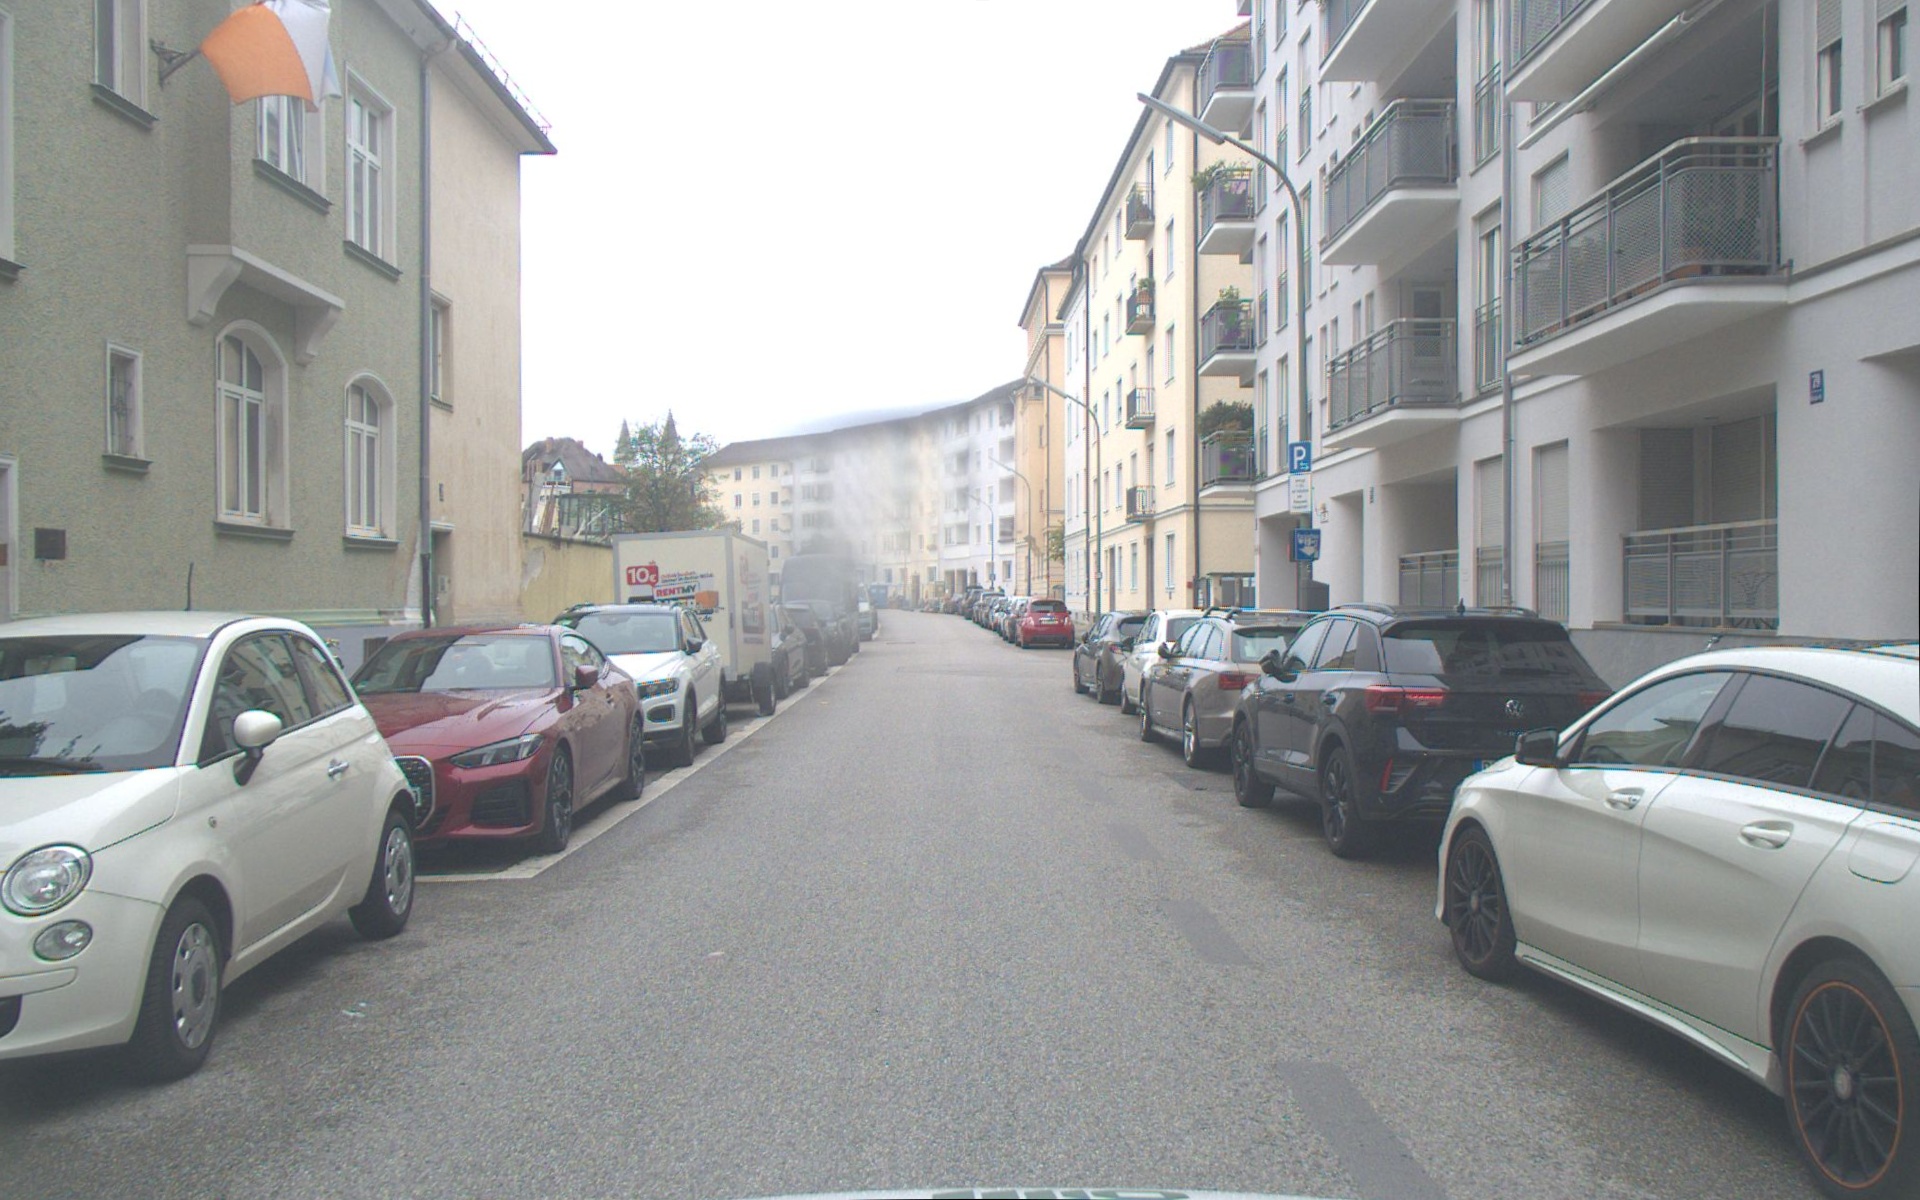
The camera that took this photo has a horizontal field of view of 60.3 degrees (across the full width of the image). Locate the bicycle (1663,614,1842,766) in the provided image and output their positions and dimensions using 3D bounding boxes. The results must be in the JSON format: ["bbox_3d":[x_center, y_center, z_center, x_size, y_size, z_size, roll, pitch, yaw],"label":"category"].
[{"bbox_3d":[6.559,0.709,13.797,0.557,1.117,1.810,-3,0,0],"label":"bicycle"}]

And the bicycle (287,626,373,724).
[{"bbox_3d":[-7.489,0.870,19.701,0.451,1.103,1.522,1,0,-2],"label":"bicycle"}]

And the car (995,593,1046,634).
[{"bbox_3d":[2.409,0.528,66.541,1.618,1.570,3.990,1,1,-4],"label":"car"}]

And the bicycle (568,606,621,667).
[{"bbox_3d":[-7.848,0.771,35.591,0.786,1.255,1.868,0,0,-2],"label":"bicycle"}]

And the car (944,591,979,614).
[{"bbox_3d":[0.098,0.176,113.344,1.871,1.503,4.940,1,1,-6],"label":"car"}]

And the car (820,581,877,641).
[{"bbox_3d":[-3.919,0.347,57.473,1.877,1.994,4.957,0,1,-5],"label":"car"}]

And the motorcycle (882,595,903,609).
[{"bbox_3d":[-5.929,0.175,145.402,0.920,1.242,2.486,0,0,-26],"label":"motorcycle"}]

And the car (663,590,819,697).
[{"bbox_3d":[-3.581,0.648,27.917,1.825,1.568,5.092,-2,1,1],"label":"car"}]

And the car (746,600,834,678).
[{"bbox_3d":[-3.516,0.771,34.823,1.642,1.461,4.283,-2,0,-4],"label":"car"}]

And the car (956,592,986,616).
[{"bbox_3d":[0.692,0.235,107.096,1.599,1.442,3.676,1,1,-5],"label":"car"}]

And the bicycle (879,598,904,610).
[{"bbox_3d":[-6.361,0.335,153.508,2.205,1.088,0.912,0,0,-26],"label":"bicycle"}]

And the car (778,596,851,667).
[{"bbox_3d":[-3.449,0.710,39.426,1.620,1.523,3.905,-2,0,-5],"label":"car"}]

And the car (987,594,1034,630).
[{"bbox_3d":[2.157,0.512,71.858,1.690,1.475,4.185,1,1,-3],"label":"car"}]

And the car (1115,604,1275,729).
[{"bbox_3d":[3.128,0.836,22.624,1.584,1.492,3.746,1,1,-1],"label":"car"}]

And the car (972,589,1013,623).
[{"bbox_3d":[1.656,0.301,86.650,1.809,1.692,4.495,1,1,-3],"label":"car"}]

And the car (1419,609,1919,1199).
[{"bbox_3d":[3.043,0.817,5.405,1.631,1.493,4.373,1,0,-3],"label":"car"}]

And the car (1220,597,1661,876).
[{"bbox_3d":[3.086,0.782,11.530,1.800,1.559,4.020,1,0,-2],"label":"car"}]

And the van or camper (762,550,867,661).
[{"bbox_3d":[-3.820,0.121,44.450,2.246,2.697,5.561,-2,0,0],"label":"van or camper"}]

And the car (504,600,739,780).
[{"bbox_3d":[-3.354,0.816,17.098,1.645,1.557,4.106,-1,1,-1],"label":"car"}]

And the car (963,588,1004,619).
[{"bbox_3d":[1.346,0.181,96.906,2.126,1.769,5.022,1,1,-2],"label":"car"}]

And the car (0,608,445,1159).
[{"bbox_3d":[-3.273,0.817,6.339,1.594,1.493,3.519,-1,0,-2],"label":"car"}]

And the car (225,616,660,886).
[{"bbox_3d":[-3.307,0.868,11.507,1.710,1.392,4.401,-1,1,-1],"label":"car"}]

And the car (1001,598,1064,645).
[{"bbox_3d":[2.422,0.702,56.038,1.737,1.454,4.613,1,1,-2],"label":"car"}]

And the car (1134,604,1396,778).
[{"bbox_3d":[2.973,0.821,17.120,1.755,1.508,4.602,0,0,-2],"label":"car"}]

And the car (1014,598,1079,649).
[{"bbox_3d":[2.628,0.694,51.066,1.621,1.454,3.754,1,1,-3],"label":"car"}]

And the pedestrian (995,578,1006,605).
[{"bbox_3d":[2.728,-0.574,111.822,0.605,1.719,0.919,-3,0,-2],"label":"pedestrian"}]

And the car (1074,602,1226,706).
[{"bbox_3d":[2.974,0.809,26.742,1.736,1.501,4.215,0,1,-3],"label":"car"}]

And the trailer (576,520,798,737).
[{"bbox_3d":[-3.515,0.339,22.219,1.935,2.514,4.578,-3,0,2],"label":"trailer"}]
